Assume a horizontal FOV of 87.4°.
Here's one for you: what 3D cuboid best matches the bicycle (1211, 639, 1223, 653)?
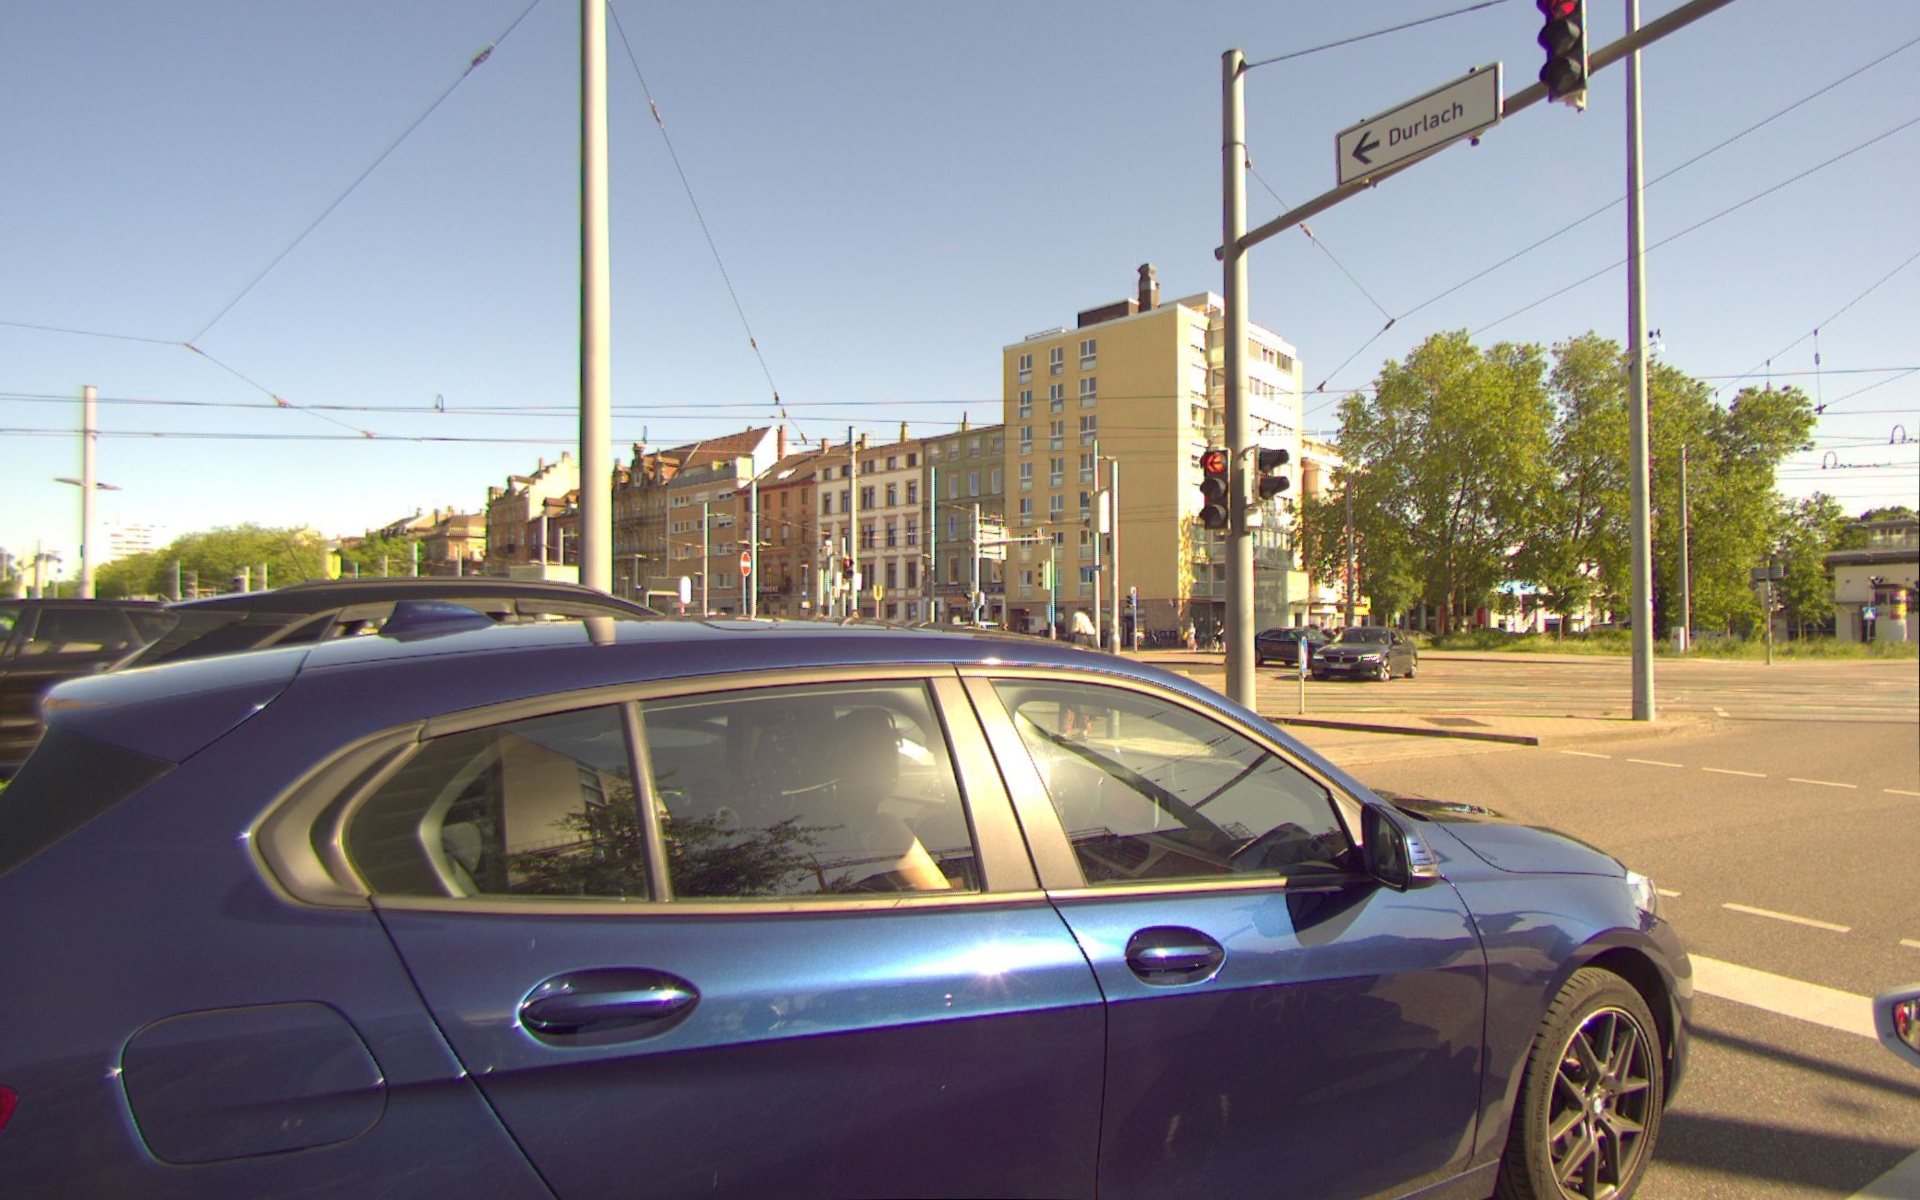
[{"bbox_3d":[14.991,2.681,58.584,0.451,0.790,1.808,-1,-2,23],"label":"bicycle"}]

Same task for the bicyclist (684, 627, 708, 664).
[{"bbox_3d":[-10.498,1.804,39.929,0.673,1.474,0.775,1,-2,-42],"label":"bicyclist"}]

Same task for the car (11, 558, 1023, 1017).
[{"bbox_3d":[-1.824,0.663,5.084,3.959,1.537,1.751,1,-1,-28],"label":"car"}]

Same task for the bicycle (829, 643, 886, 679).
[{"bbox_3d":[-2.730,1.604,26.579,0.672,0.890,1.880,1,-2,-35],"label":"bicycle"}]

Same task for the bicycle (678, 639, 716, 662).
[{"bbox_3d":[-10.463,1.984,39.863,0.673,0.890,1.875,1,-2,-42],"label":"bicycle"}]

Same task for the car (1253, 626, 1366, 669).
[{"bbox_3d":[12.556,1.682,36.345,1.700,1.457,4.161,0,-2,-18],"label":"car"}]

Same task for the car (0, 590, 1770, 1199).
[{"bbox_3d":[0.090,0.757,2.523,3.984,1.464,1.703,1,0,-30],"label":"car"}]

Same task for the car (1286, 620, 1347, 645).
[{"bbox_3d":[24.465,2.247,68.975,3.691,1.684,1.586,-1,-2,42],"label":"car"}]

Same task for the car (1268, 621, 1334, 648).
[{"bbox_3d":[21.645,2.161,63.782,3.691,1.684,1.586,-1,-2,42],"label":"car"}]

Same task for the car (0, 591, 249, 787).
[{"bbox_3d":[-9.043,0.777,9.146,4.040,1.681,1.848,1,-2,-41],"label":"car"}]

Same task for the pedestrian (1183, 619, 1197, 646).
[{"bbox_3d":[13.618,1.940,59.426,0.702,1.581,0.557,0,-1,22],"label":"pedestrian"}]

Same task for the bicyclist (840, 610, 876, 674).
[{"bbox_3d":[-2.704,1.102,26.569,0.672,1.676,0.777,1,-1,-35],"label":"bicyclist"}]

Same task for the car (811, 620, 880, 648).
[{"bbox_3d":[-7.115,2.104,62.069,4.244,1.675,1.849,-1,-2,40],"label":"car"}]

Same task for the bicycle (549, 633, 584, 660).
[{"bbox_3d":[-17.140,2.014,43.713,1.871,1.120,0.675,-1,-2,42],"label":"bicycle"}]

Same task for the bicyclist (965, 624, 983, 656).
[{"bbox_3d":[0.635,1.842,46.287,0.609,1.462,0.614,1,-1,-30],"label":"bicyclist"}]

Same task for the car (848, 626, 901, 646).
[{"bbox_3d":[-6.296,2.651,74.473,1.749,1.446,3.863,-1,-2,39],"label":"car"}]

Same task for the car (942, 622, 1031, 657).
[{"bbox_3d":[1.282,1.934,49.798,4.246,1.675,1.848,-1,-2,42],"label":"car"}]

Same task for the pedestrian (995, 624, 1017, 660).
[{"bbox_3d":[2.080,1.895,45.258,0.669,1.593,0.740,1,-2,-45],"label":"pedestrian"}]

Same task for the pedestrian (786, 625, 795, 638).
[{"bbox_3d":[-14.955,2.786,88.808,0.739,1.220,0.422,-1,-2,42],"label":"pedestrian"}]

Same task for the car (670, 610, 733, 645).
[{"bbox_3d":[-21.252,2.250,82.399,5.838,2.780,2.133,-1,-2,42],"label":"car"}]

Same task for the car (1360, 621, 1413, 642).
[{"bbox_3d":[34.920,2.542,82.326,3.691,1.684,1.586,-1,-2,42],"label":"car"}]

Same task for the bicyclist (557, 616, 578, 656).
[{"bbox_3d":[-17.066,1.566,43.669,0.609,1.735,0.675,-1,-2,42],"label":"bicyclist"}]

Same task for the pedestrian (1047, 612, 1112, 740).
[{"bbox_3d":[1.498,0.941,12.616,0.748,1.575,0.356,0,-1,-13],"label":"pedestrian"}]

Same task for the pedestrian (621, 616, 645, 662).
[{"bbox_3d":[-12.574,1.505,38.635,0.672,1.735,0.793,1,-1,-38],"label":"pedestrian"}]

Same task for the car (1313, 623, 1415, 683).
[{"bbox_3d":[11.255,1.410,27.793,1.833,1.521,4.557,-1,-2,32],"label":"car"}]

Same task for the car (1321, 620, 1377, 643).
[{"bbox_3d":[29.934,2.406,77.291,3.691,1.684,1.586,-1,-2,42],"label":"car"}]

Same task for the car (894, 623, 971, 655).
[{"bbox_3d":[-1.594,2.164,56.348,4.246,1.675,1.848,-1,-2,42],"label":"car"}]

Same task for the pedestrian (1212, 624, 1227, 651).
[{"bbox_3d":[15.136,2.167,58.668,0.753,1.581,0.615,-1,-1,24],"label":"pedestrian"}]

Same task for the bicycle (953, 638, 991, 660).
[{"bbox_3d":[0.547,2.249,46.221,1.666,0.958,0.614,1,-2,-30],"label":"bicycle"}]

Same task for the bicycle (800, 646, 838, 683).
[{"bbox_3d":[-3.692,1.661,26.133,0.668,0.890,1.891,0,-2,-18],"label":"bicycle"}]

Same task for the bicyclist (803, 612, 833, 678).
[{"bbox_3d":[-3.722,1.165,26.255,0.668,1.676,0.782,0,-1,-18],"label":"bicyclist"}]

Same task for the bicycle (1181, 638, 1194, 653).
[{"bbox_3d":[13.482,2.697,59.455,0.478,0.822,1.612,-1,-2,23],"label":"bicycle"}]
